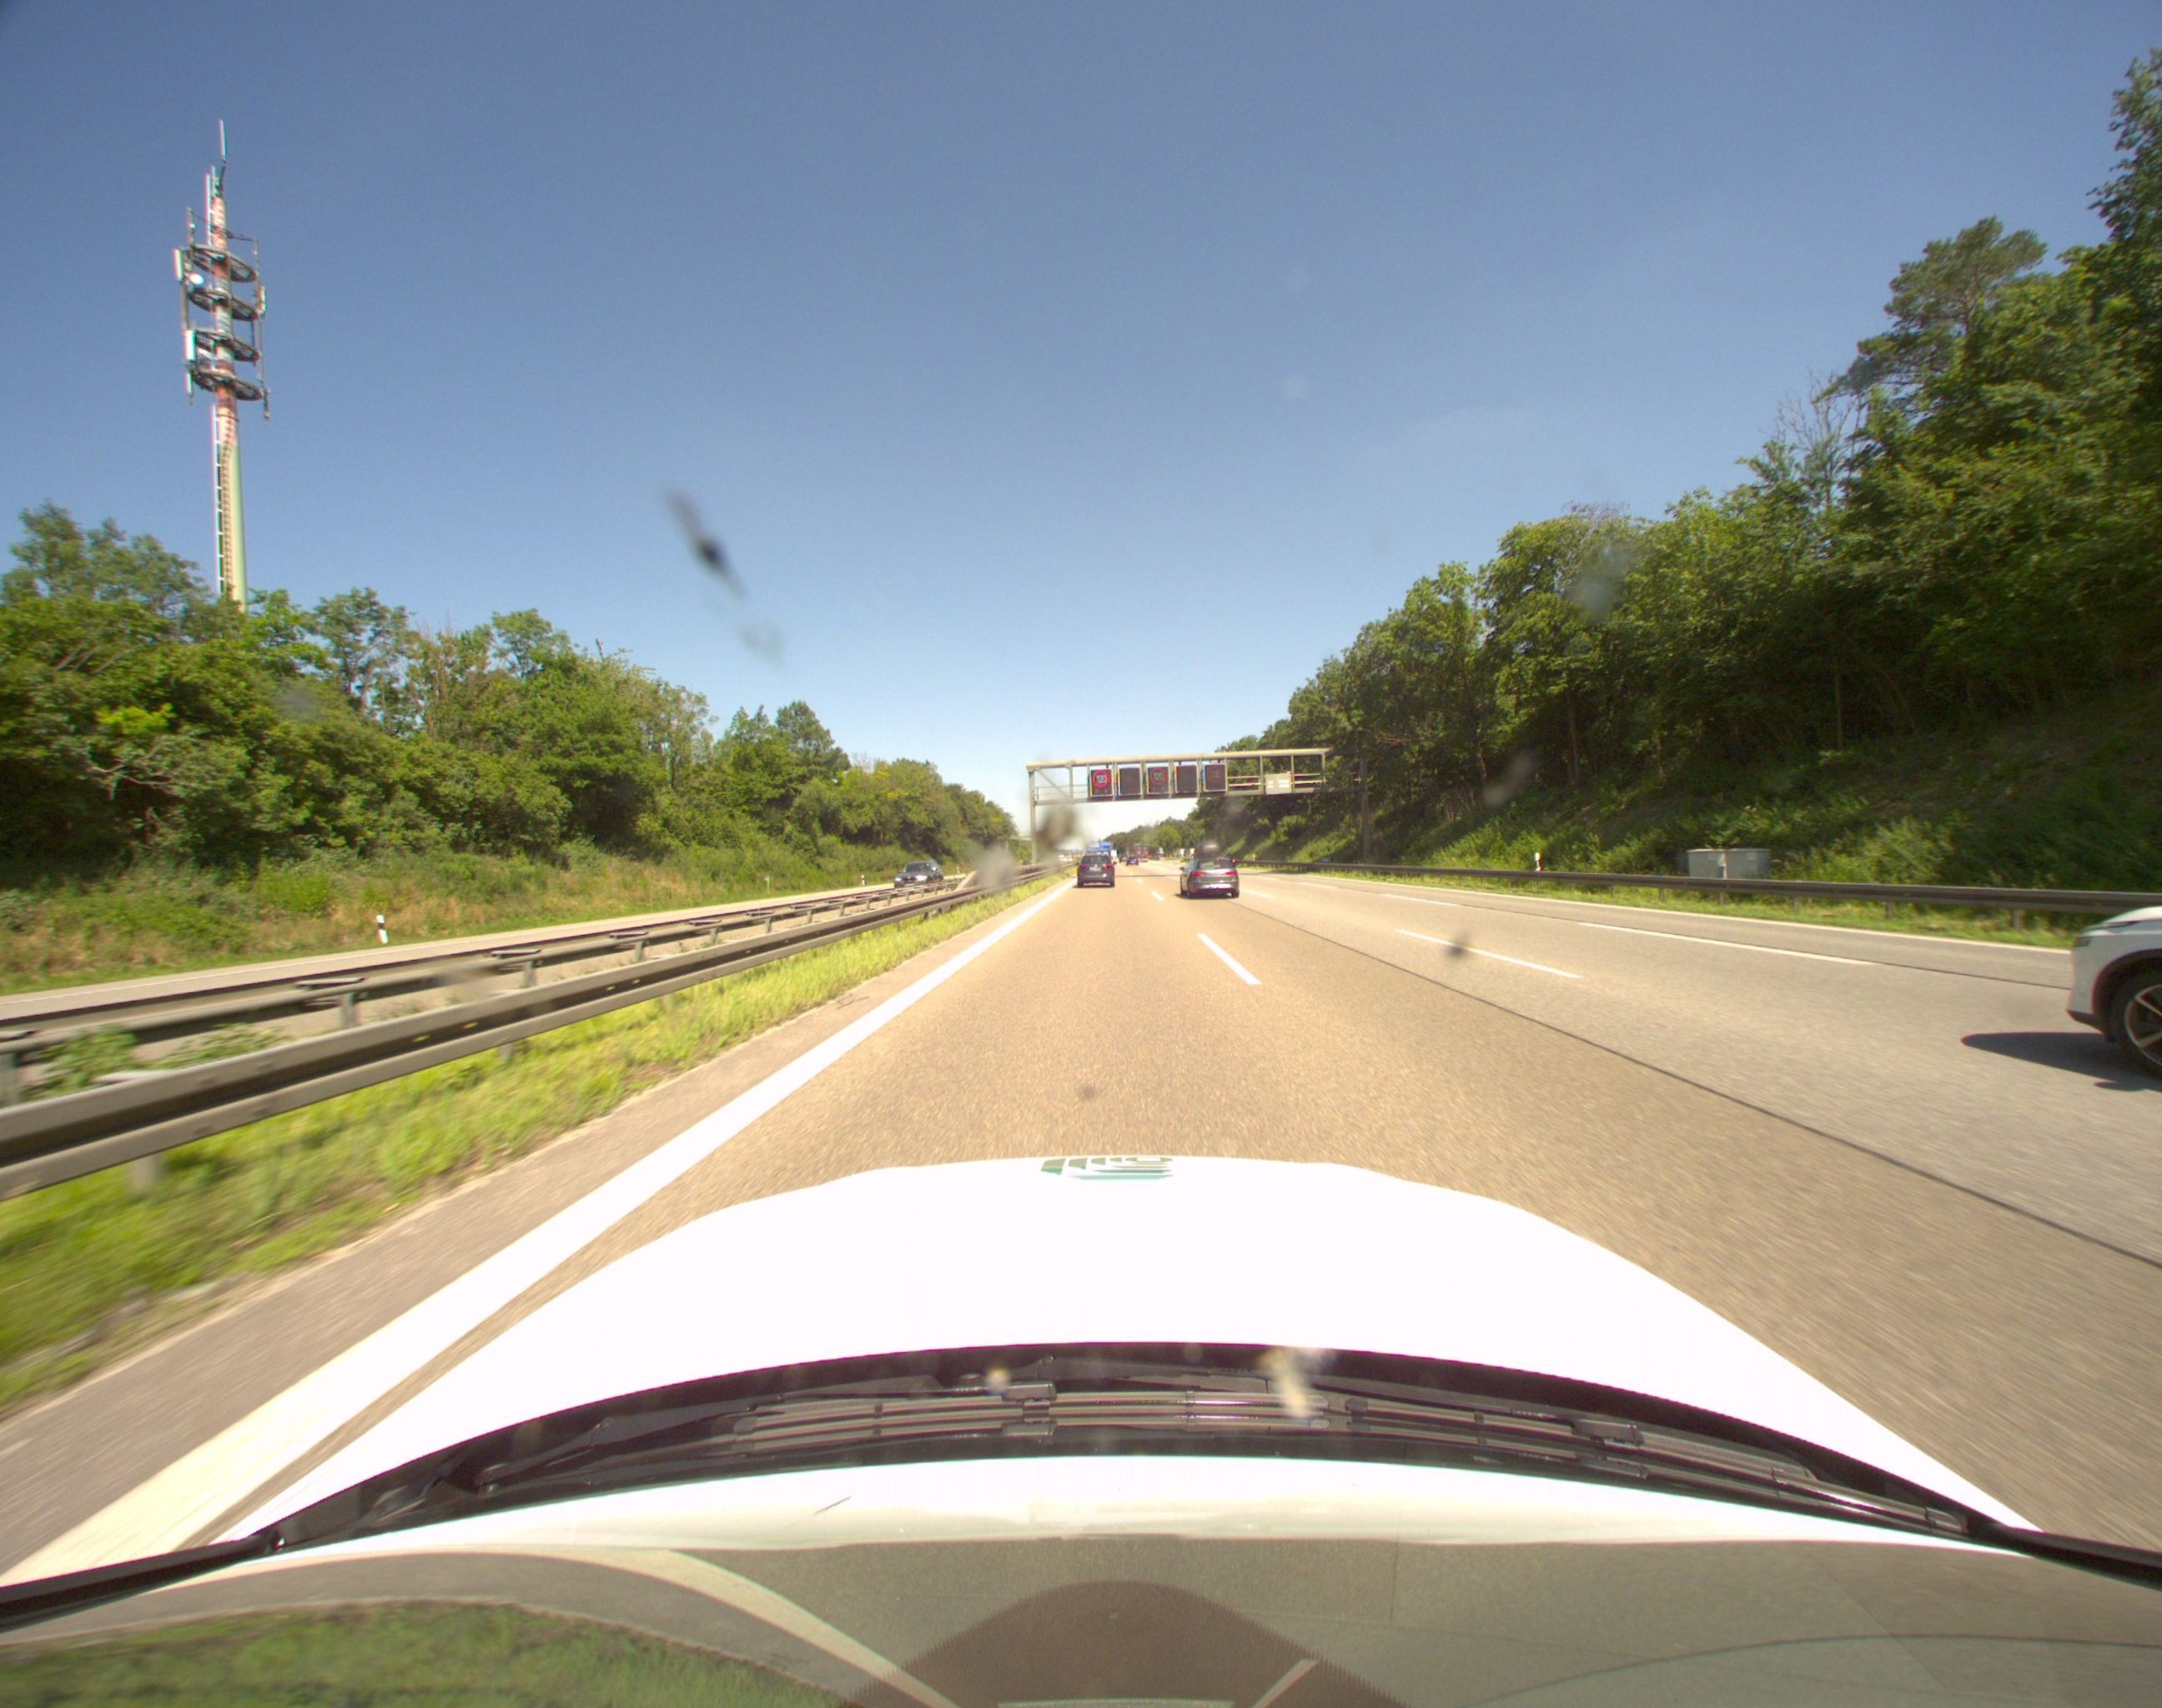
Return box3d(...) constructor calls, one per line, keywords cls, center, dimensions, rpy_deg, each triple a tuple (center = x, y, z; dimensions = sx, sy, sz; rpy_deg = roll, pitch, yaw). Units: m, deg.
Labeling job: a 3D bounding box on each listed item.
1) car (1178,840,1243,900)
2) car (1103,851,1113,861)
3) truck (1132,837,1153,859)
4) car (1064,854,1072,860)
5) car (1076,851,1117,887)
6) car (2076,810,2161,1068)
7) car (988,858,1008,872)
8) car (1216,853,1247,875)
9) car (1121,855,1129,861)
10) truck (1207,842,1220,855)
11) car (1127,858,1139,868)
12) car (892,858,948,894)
box3d(cls="car", center=(4.516, 0.511, 29.086), dimensions=(1.658, 1.876, 4.830), rpy_deg=(-3, 0, 2))
box3d(cls="car", center=(5.485, 0.423, 165.115), dimensions=(1.986, 2.013, 4.002), rpy_deg=(-1, 0, 2))
box3d(cls="truck", center=(13.319, -1.208, 178.747), dimensions=(3.767, 4.422, 14.053), rpy_deg=(-1, 0, 1))
box3d(cls="car", center=(-3.663, 0.870, 230.481), dimensions=(1.805, 1.617, 3.916), rpy_deg=(-4, 0, 2))
box3d(cls="car", center=(0.813, 0.678, 40.067), dimensions=(1.791, 1.669, 4.262), rpy_deg=(-1, 0, 4))
box3d(cls="car", center=(7.428, 0.509, 3.346), dimensions=(1.836, 1.568, 4.038), rpy_deg=(-1, 0, 2))
box3d(cls="car", center=(-7.886, 1.027, 77.609), dimensions=(1.474, 1.210, 3.459), rpy_deg=(-3, 0, 2))
box3d(cls="car", center=(11.150, 0.737, 60.456), dimensions=(1.757, 1.568, 4.262), rpy_deg=(-1, 0, 4))
box3d(cls="car", center=(9.339, 0.871, 173.101), dimensions=(1.466, 1.398, 3.411), rpy_deg=(1, 0, 1))
box3d(cls="truck", center=(40.866, -1.714, 251.591), dimensions=(3.263, 3.947, 9.382), rpy_deg=(-2, 0, 12))
box3d(cls="car", center=(7.578, 1.294, 119.037), dimensions=(1.757, 1.381, 4.262), rpy_deg=(-1, 0, 4))
box3d(cls="car", center=(-8.425, 1.091, 43.031), dimensions=(1.800, 1.642, 4.802), rpy_deg=(-4, 0, 2))
